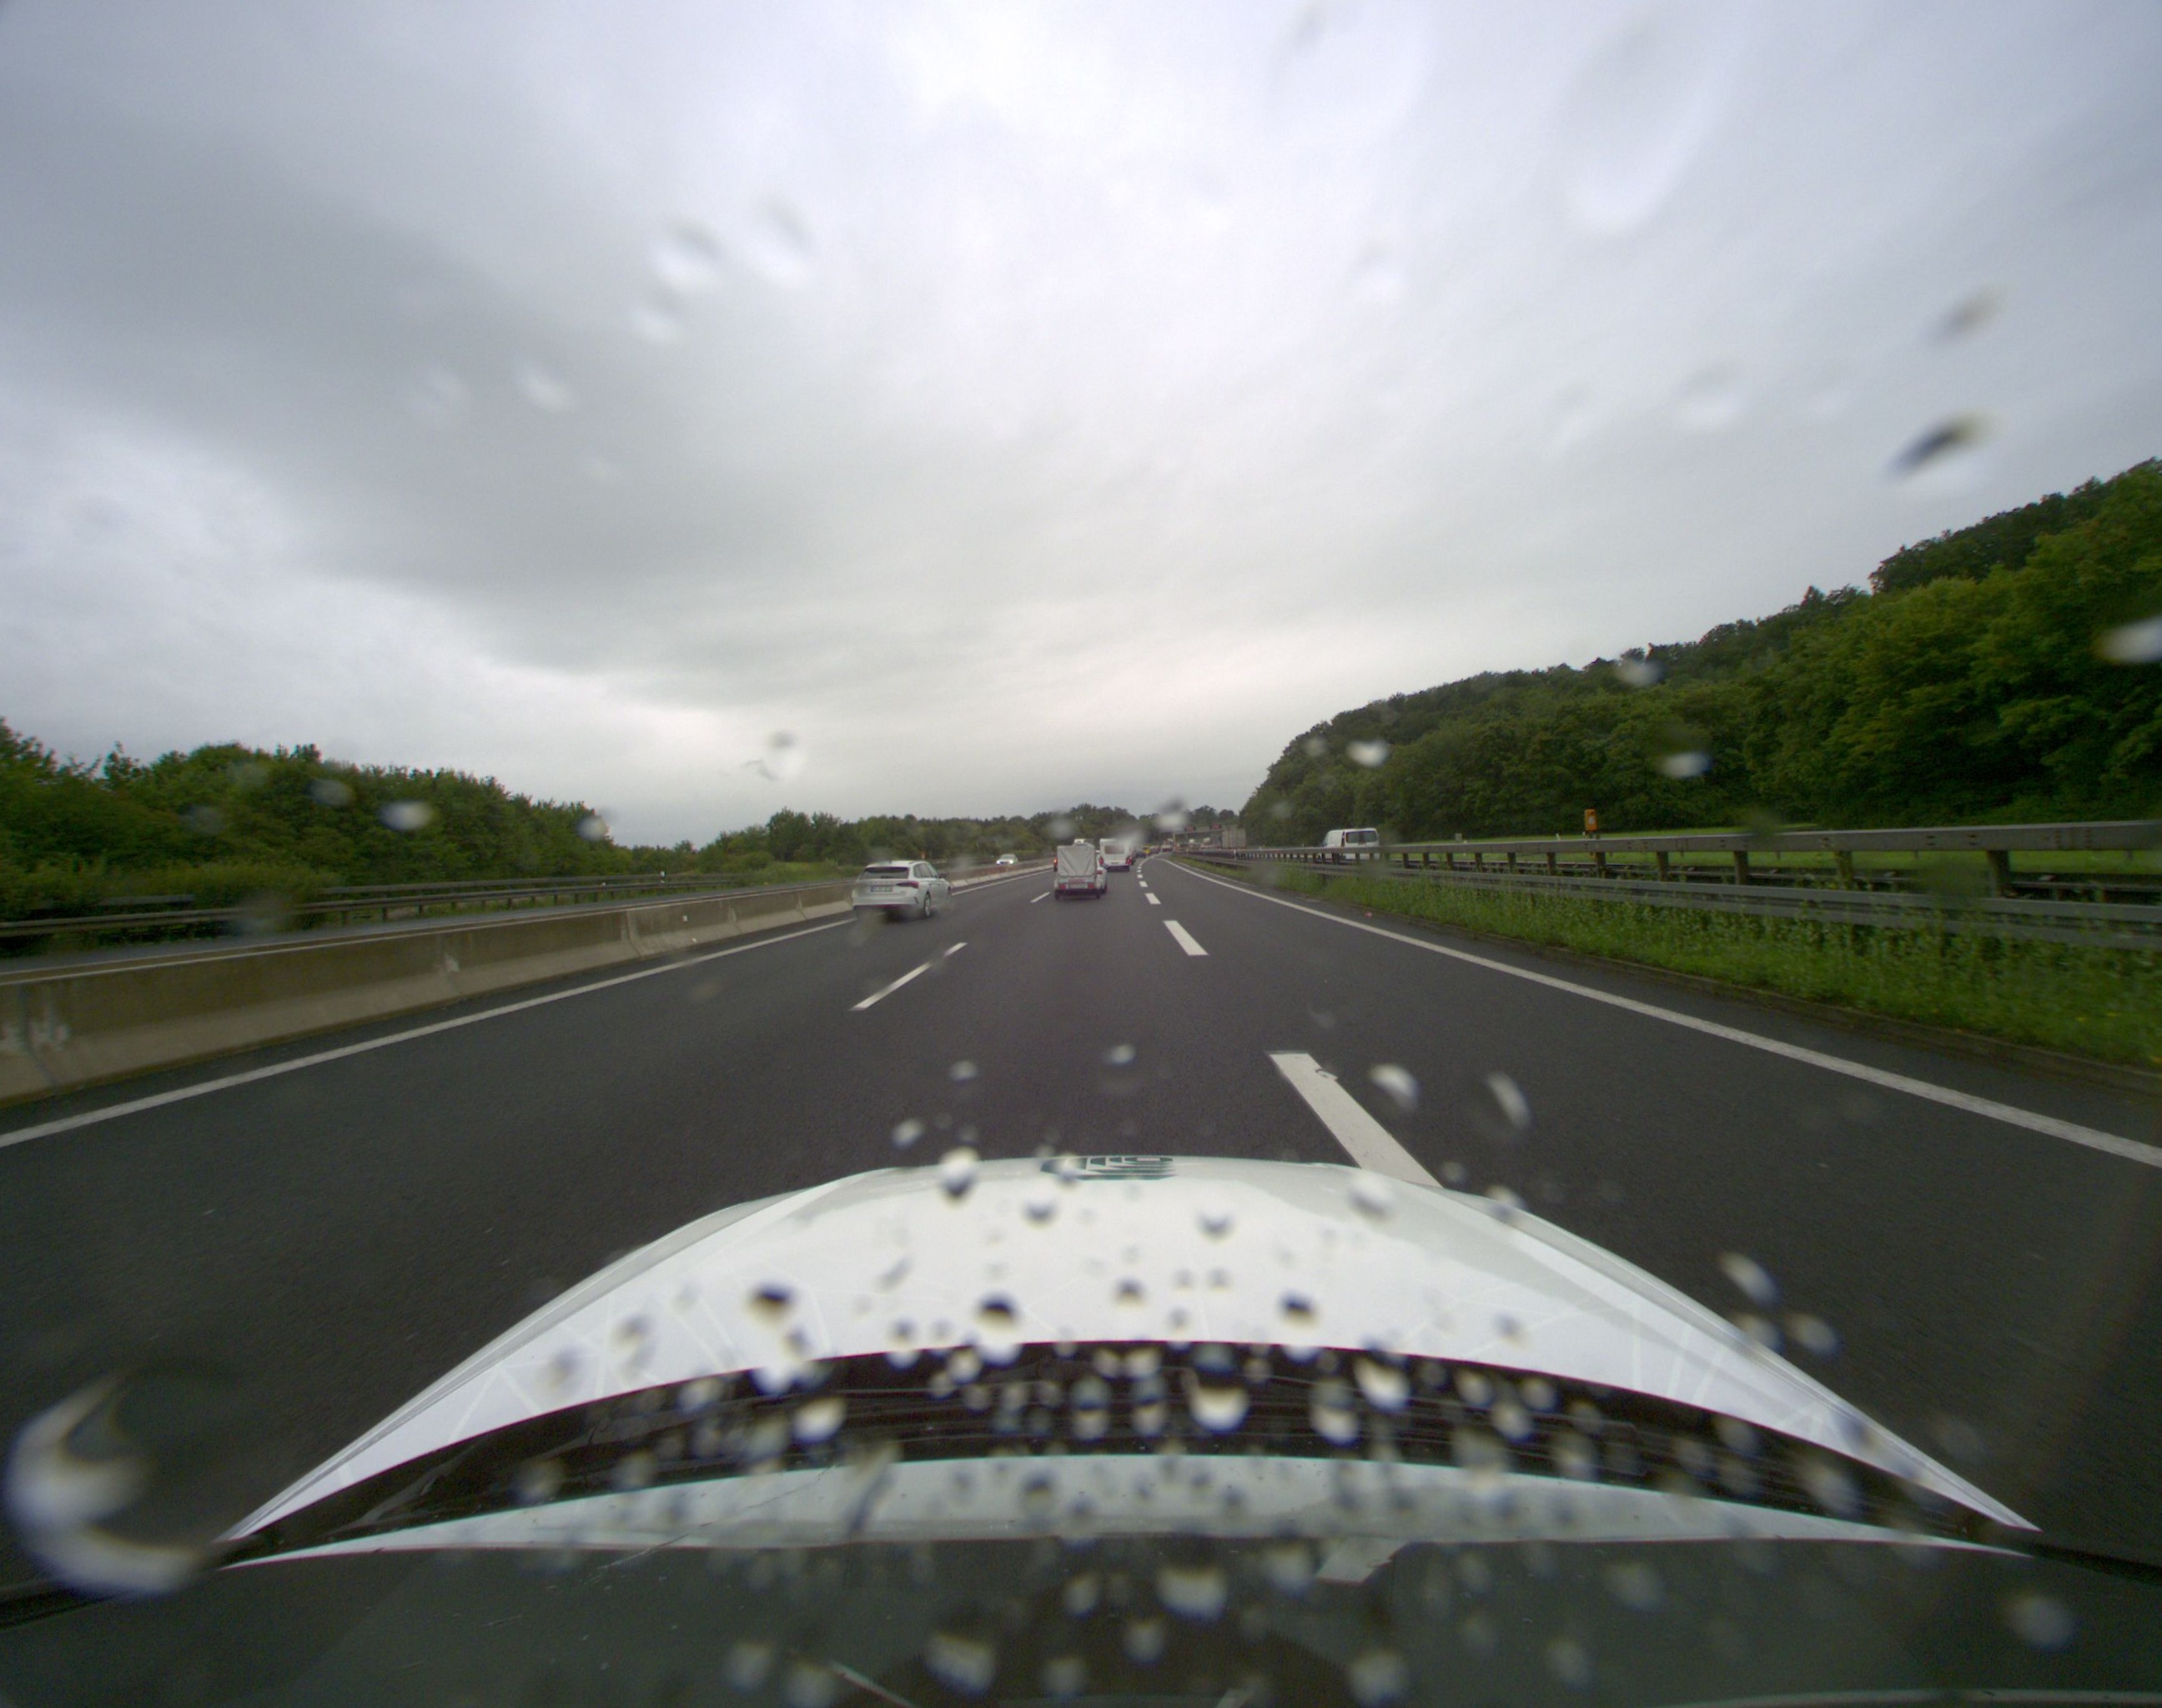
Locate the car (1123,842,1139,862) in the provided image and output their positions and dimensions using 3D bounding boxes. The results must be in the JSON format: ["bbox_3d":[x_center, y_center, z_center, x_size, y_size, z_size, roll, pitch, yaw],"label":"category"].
[{"bbox_3d":[5.533,-0.226,89.952,1.668,2.067,4.005,-2,-1,4],"label":"car"}]

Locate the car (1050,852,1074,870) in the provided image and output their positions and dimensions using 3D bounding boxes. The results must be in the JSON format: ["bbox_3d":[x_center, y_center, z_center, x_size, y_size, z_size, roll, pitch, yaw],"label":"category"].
[{"bbox_3d":[-1.611,0.566,70.067,1.668,1.456,4.003,-2,-1,3],"label":"car"}]

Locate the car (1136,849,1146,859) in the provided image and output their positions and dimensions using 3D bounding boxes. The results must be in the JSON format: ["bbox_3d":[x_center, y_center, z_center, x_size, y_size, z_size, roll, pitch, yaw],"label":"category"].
[{"bbox_3d":[10.540,0.022,143.571,1.668,1.812,4.005,-2,-1,5],"label":"car"}]

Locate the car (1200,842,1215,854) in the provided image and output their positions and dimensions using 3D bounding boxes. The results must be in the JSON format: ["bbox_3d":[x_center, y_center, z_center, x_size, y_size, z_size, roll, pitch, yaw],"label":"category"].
[{"bbox_3d":[17.053,-0.781,109.966,1.659,1.382,4.131,-4,0,4],"label":"car"}]

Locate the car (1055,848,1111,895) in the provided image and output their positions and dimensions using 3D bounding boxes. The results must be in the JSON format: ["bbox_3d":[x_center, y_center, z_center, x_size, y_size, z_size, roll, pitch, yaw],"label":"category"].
[{"bbox_3d":[0.148,0.656,31.826,1.810,1.616,4.782,-2,-1,4],"label":"car"}]

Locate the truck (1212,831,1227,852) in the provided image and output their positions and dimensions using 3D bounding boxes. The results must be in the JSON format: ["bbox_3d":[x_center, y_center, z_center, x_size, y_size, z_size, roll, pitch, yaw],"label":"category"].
[{"bbox_3d":[32.011,-2.813,188.235,3.196,4.666,13.065,-2,-1,9],"label":"truck"}]

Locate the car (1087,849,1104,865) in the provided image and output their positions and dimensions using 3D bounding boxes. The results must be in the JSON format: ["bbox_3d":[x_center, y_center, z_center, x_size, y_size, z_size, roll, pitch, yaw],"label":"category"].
[{"bbox_3d":[1.861,0.373,103.445,1.986,1.919,4.001,-2,-1,2],"label":"car"}]

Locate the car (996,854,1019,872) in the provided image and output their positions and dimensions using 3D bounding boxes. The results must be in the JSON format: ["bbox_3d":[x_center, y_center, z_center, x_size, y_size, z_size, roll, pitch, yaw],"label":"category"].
[{"bbox_3d":[-8.028,0.970,89.355,1.729,1.919,4.322,-2,-1,5],"label":"car"}]

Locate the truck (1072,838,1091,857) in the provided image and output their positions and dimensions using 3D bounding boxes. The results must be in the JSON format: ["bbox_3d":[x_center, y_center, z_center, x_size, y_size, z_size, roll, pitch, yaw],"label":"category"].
[{"bbox_3d":[0.197,-1.415,188.839,2.772,4.092,12.324,-2,-1,7],"label":"truck"}]

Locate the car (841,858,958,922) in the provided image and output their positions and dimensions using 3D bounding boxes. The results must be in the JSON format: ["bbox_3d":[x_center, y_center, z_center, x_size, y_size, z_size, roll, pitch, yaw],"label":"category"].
[{"bbox_3d":[-4.629,0.867,21.538,1.812,1.456,4.779,-2,-1,2],"label":"car"}]

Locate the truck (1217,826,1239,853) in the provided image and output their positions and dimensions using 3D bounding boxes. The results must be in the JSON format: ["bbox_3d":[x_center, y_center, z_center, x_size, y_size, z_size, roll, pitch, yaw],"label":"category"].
[{"bbox_3d":[22.480,-2.114,124.939,2.604,3.884,6.399,-2,-1,4],"label":"truck"}]

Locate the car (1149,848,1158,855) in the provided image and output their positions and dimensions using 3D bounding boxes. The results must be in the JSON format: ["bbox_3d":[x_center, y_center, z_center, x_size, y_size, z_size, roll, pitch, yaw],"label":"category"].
[{"bbox_3d":[17.473,-0.653,195.424,2.026,1.683,4.008,-2,-1,7],"label":"car"}]

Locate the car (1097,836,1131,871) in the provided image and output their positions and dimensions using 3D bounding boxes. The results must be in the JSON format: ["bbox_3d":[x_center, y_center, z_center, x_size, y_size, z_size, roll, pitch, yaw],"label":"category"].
[{"bbox_3d":[2.667,-0.026,64.876,2.497,2.585,5.705,-2,-1,4],"label":"car"}]

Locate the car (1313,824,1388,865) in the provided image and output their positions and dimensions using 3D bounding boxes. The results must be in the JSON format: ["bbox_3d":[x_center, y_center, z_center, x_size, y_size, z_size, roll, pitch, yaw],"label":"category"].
[{"bbox_3d":[12.332,-0.391,37.621,1.902,1.693,4.719,-2,-1,1],"label":"car"}]

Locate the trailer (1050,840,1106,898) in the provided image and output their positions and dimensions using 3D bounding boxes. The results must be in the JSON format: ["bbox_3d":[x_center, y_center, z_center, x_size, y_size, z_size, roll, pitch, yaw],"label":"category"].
[{"bbox_3d":[-0.035,0.498,28.579,1.669,1.812,4.003,-2,-1,3],"label":"trailer"}]

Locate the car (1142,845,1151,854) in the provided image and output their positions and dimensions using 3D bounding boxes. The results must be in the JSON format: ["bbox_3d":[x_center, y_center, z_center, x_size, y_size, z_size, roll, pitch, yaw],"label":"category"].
[{"bbox_3d":[13.879,-1.023,172.435,1.666,1.812,4.009,-2,-1,8],"label":"car"}]

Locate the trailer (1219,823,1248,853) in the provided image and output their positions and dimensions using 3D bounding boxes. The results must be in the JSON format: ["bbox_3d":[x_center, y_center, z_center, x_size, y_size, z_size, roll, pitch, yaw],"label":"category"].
[{"bbox_3d":[21.978,-2.196,118.269,2.592,3.894,12.504,-2,-1,4],"label":"trailer"}]

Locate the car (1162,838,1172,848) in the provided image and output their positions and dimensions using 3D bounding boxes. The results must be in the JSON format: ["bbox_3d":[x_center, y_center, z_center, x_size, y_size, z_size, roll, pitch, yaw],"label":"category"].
[{"bbox_3d":[24.455,-3.041,231.710,2.500,2.574,5.326,-2,-1,10],"label":"car"}]
